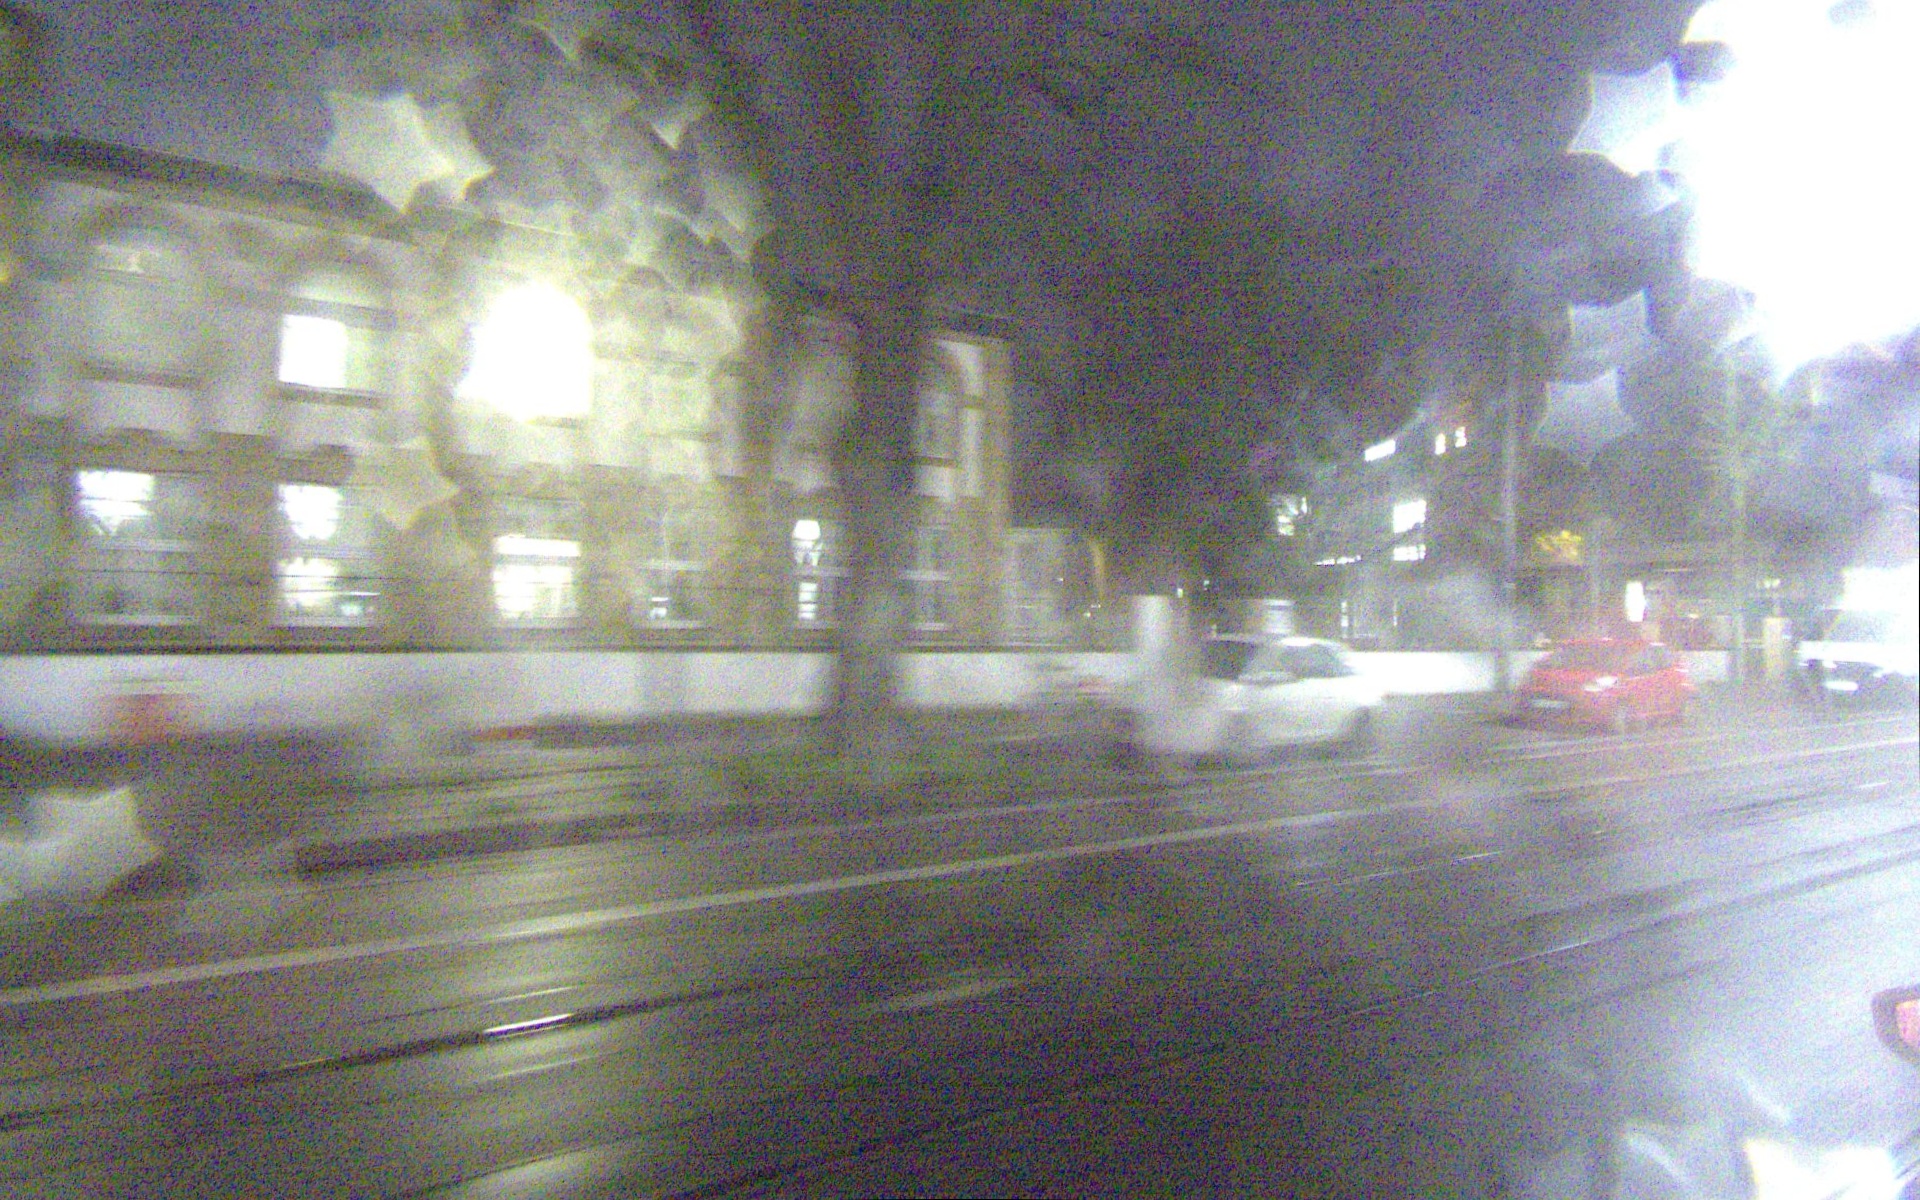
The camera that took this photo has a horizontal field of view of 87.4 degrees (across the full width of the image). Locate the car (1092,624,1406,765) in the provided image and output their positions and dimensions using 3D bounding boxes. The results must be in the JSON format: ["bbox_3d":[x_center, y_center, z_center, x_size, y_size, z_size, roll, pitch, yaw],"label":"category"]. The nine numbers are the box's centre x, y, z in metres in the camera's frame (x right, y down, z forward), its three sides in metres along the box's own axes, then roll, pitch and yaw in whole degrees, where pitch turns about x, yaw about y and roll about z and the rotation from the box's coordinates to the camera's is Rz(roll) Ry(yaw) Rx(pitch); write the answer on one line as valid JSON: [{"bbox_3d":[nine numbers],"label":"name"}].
[{"bbox_3d":[3.599,1.074,12.329,3.767,1.447,1.601,2,0,-32],"label":"car"}]

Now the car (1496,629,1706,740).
[{"bbox_3d":[10.700,1.308,16.712,3.580,1.527,1.631,-1,1,-33],"label":"car"}]

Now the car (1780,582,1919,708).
[{"bbox_3d":[20.902,0.945,22.724,5.547,2.532,2.013,1,1,-33],"label":"car"}]
